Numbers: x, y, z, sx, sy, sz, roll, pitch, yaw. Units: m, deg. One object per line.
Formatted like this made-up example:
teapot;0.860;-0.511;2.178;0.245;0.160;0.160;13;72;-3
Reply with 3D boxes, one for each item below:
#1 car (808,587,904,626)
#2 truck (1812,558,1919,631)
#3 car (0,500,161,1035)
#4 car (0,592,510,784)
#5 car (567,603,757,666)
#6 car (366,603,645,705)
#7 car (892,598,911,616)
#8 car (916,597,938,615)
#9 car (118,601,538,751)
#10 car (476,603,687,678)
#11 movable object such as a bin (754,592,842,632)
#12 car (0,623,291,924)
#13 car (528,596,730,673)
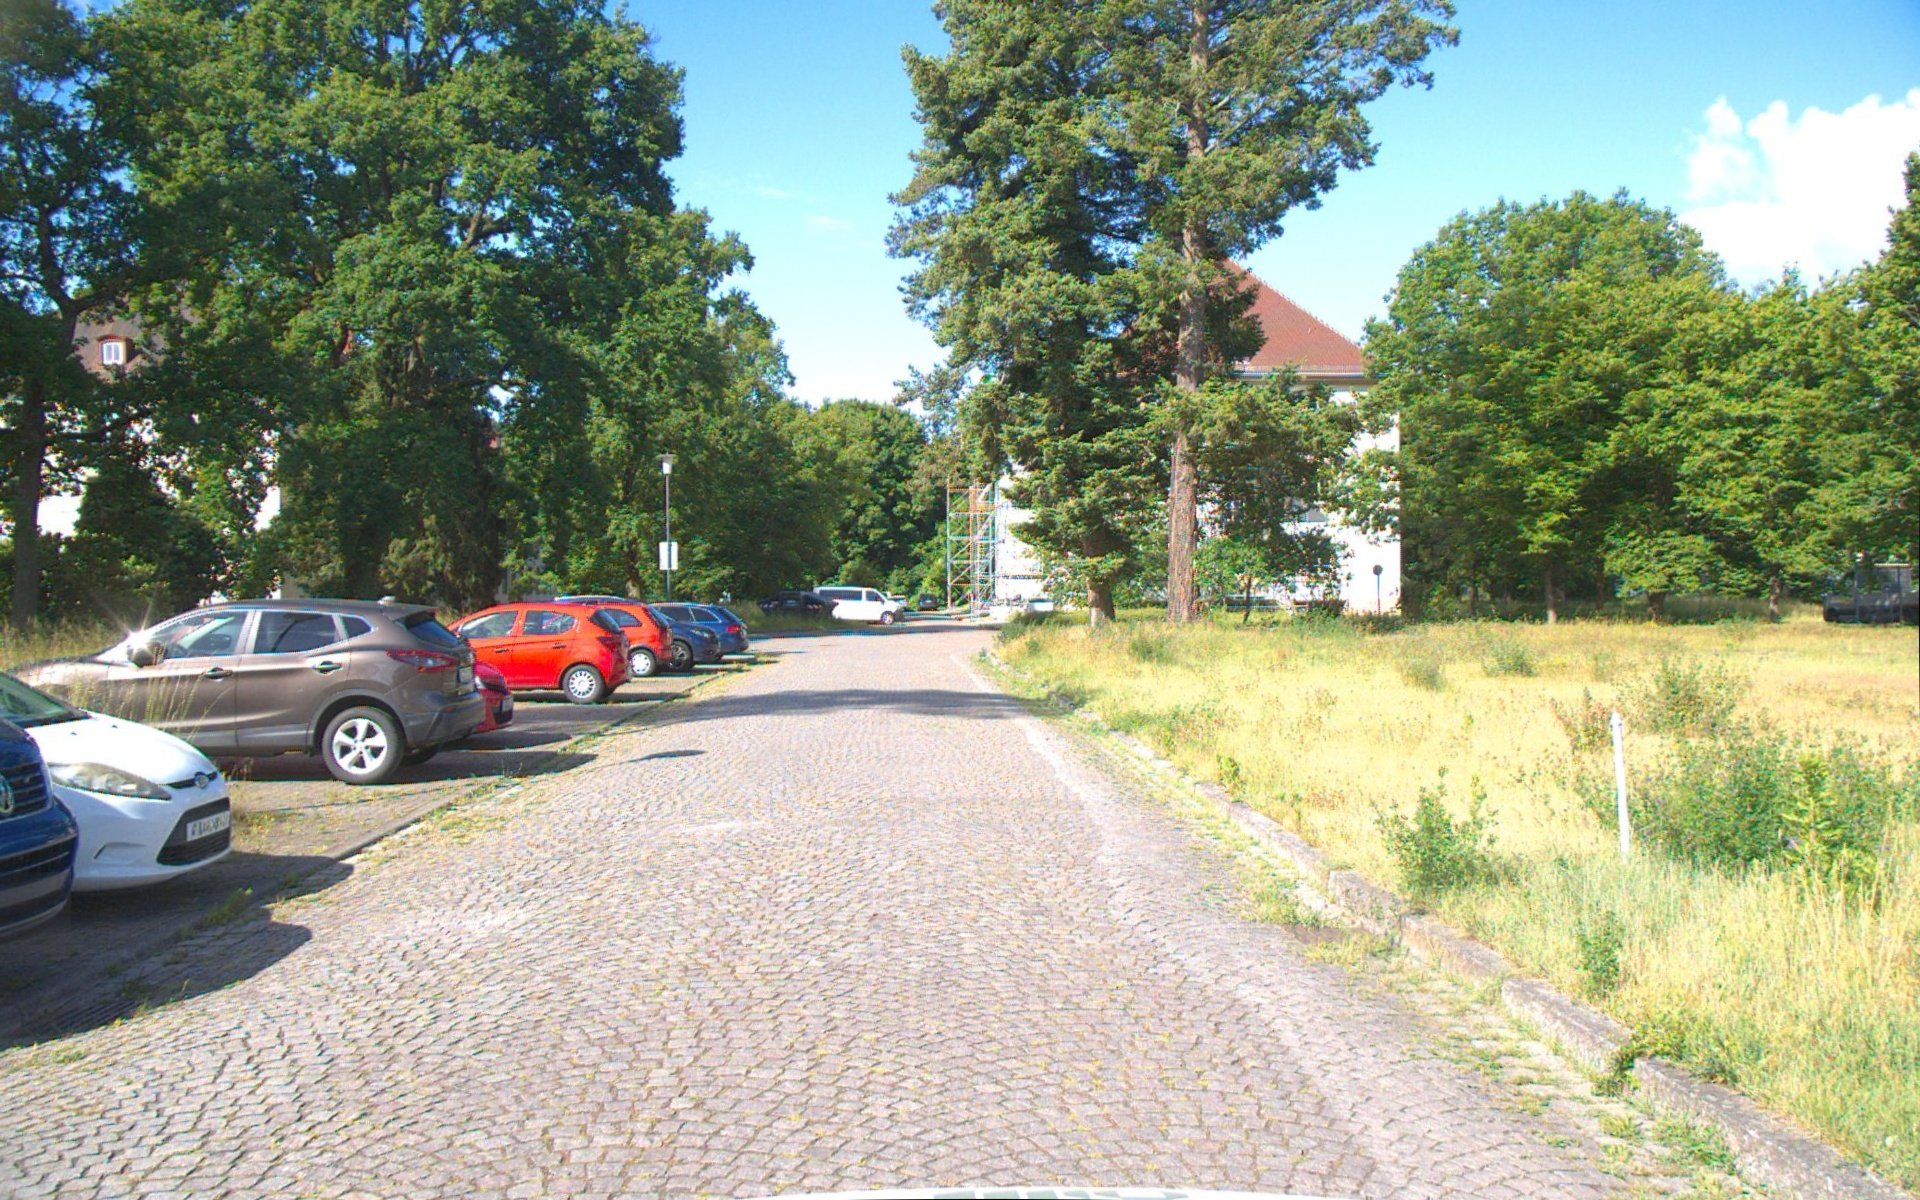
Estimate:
car;-5.598;0.351;89.541;5.130;2.051;1.949;0;0;-3
truck;33.105;-0.162;58.387;2.188;2.466;6.881;1;0;-3
car;-5.905;0.593;6.367;4.623;2.002;2.004;1;0;-3
car;-6.344;0.766;15.286;3.875;1.595;1.972;1;1;-4
car;-7.251;0.827;40.551;4.270;1.470;1.921;0;0;0
car;-6.945;0.811;25.590;3.846;1.486;1.840;0;0;-4
car;-5.512;0.658;155.594;1.776;1.607;4.132;-1;0;-3
car;-3.171;0.565;156.005;1.931;1.697;4.084;-1;0;-3
car;-6.743;0.793;18.000;3.846;1.474;1.865;1;0;-4
car;-7.599;0.802;33.472;3.843;1.458;1.841;0;0;-1
movable object such as a bin;-7.467;0.534;76.348;3.490;1.775;2.026;-1;0;16
car;-5.843;0.864;8.972;3.741;1.465;1.681;1;0;-6
car;-7.111;0.724;35.872;4.052;1.607;1.883;0;0;-3
